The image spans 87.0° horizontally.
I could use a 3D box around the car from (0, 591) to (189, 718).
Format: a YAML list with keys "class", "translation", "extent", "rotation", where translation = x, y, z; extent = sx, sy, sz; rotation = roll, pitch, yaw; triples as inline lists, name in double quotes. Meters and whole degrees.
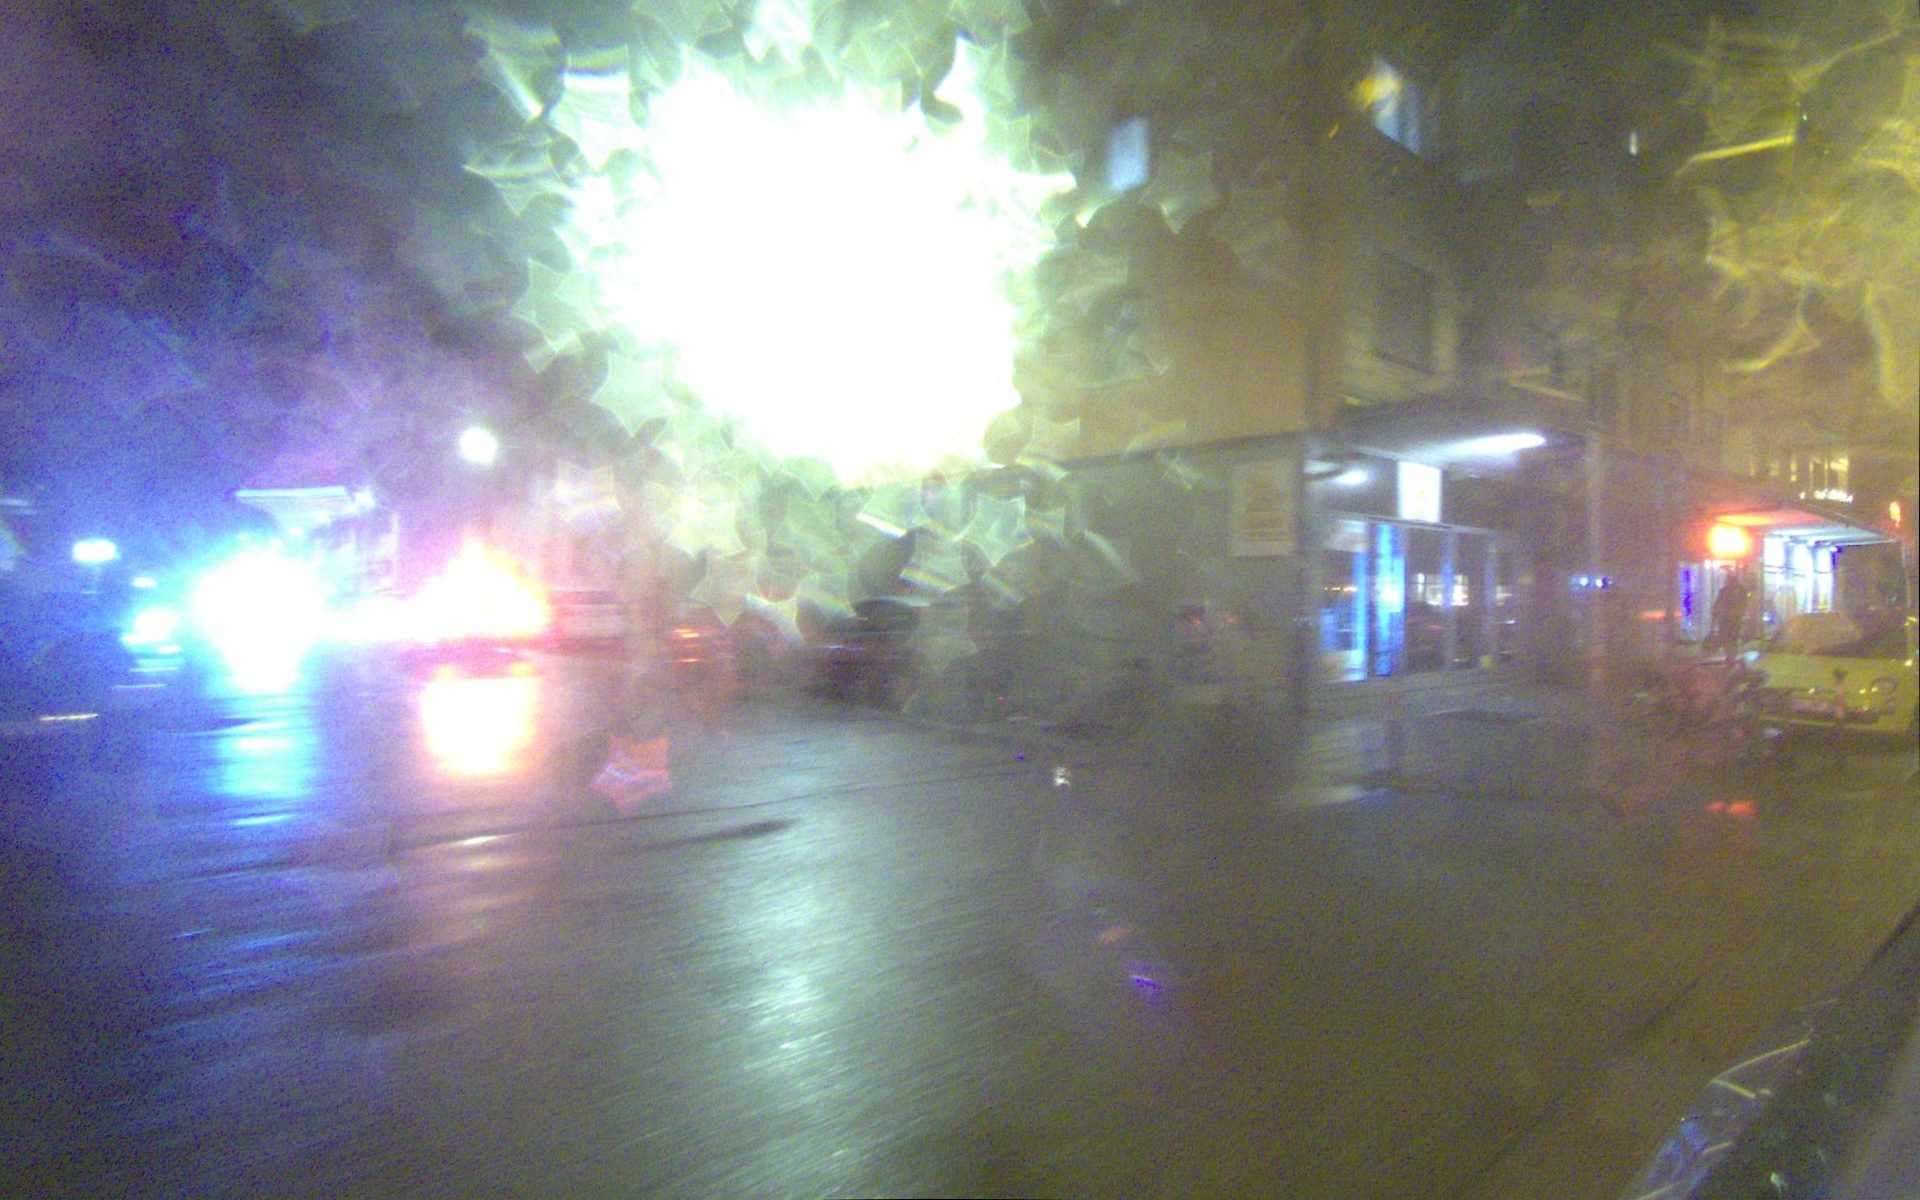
- class: "car"
  translation: [-11.632, 0.646, 13.682]
  extent: [1.809, 1.452, 4.154]
  rotation: [0, -1, -39]

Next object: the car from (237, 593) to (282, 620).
- class: "car"
  translation: [-43.235, 0.430, 62.412]
  extent: [1.964, 1.556, 3.994]
  rotation: [0, -1, -40]

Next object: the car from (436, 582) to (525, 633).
- class: "car"
  translation: [-16.309, 0.264, 34.309]
  extent: [1.809, 1.623, 4.154]
  rotation: [0, -1, -39]

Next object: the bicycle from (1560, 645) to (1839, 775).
- class: "bicycle"
  translation: [6.744, 0.950, 9.427]
  extent: [0.605, 0.905, 2.278]
  rotation: [1, 1, -11]

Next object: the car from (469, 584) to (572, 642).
- class: "car"
  translation: [-13.212, 0.391, 30.316]
  extent: [1.809, 1.623, 4.154]
  rotation: [0, -1, -39]

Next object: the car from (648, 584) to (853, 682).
- class: "car"
  translation: [-3.811, 0.554, 17.938]
  extent: [1.964, 1.527, 3.995]
  rotation: [0, -1, -39]

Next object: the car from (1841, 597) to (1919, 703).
- class: "car"
  translation: [15.602, 0.743, 16.172]
  extent: [4.088, 1.525, 1.689]
  rotation: [0, 1, -40]

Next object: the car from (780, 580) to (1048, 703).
- class: "car"
  translation: [-0.794, 0.538, 14.541]
  extent: [1.861, 1.504, 3.995]
  rotation: [0, -1, -39]

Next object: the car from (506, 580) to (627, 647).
- class: "car"
  translation: [-10.419, 0.346, 26.627]
  extent: [1.809, 1.623, 4.154]
  rotation: [0, -1, -39]

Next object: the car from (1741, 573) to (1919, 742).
- class: "car"
  translation: [10.982, 0.583, 12.230]
  extent: [3.788, 1.743, 1.676]
  rotation: [0, 1, -40]

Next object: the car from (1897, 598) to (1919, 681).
- class: "car"
  translation: [19.641, 0.742, 19.490]
  extent: [4.088, 1.525, 1.845]
  rotation: [0, 1, -40]

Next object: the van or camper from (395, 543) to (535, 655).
- class: "van or camper"
  translation: [-12.191, 0.041, 24.702]
  extent: [2.080, 2.429, 5.329]
  rotation: [0, -1, -37]

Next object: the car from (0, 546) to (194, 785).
- class: "car"
  translation: [-8.313, 0.516, 9.373]
  extent: [1.809, 1.793, 4.154]
  rotation: [0, -1, -39]

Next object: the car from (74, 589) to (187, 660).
- class: "car"
  translation: [-18.671, 0.531, 22.847]
  extent: [1.809, 1.452, 4.154]
  rotation: [0, -1, -39]
